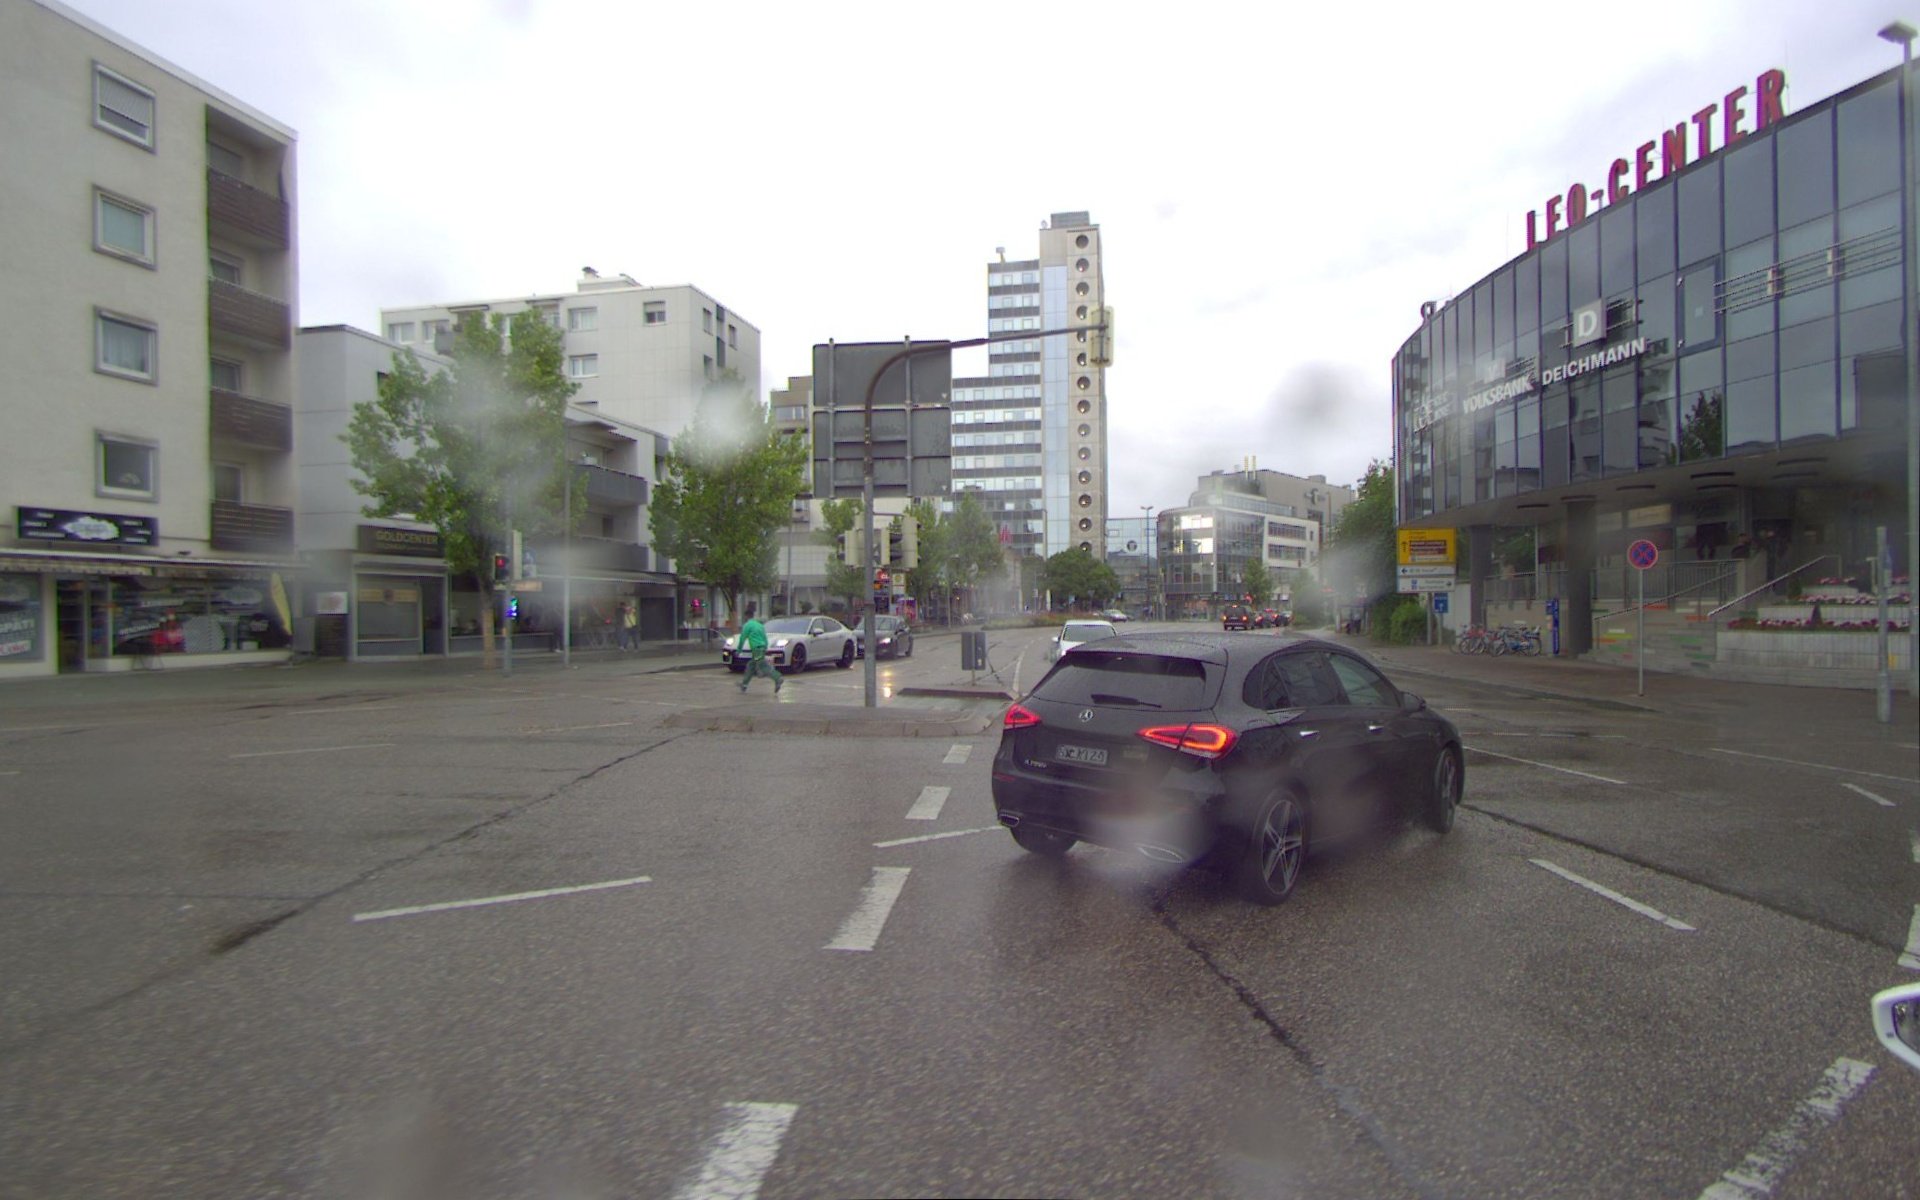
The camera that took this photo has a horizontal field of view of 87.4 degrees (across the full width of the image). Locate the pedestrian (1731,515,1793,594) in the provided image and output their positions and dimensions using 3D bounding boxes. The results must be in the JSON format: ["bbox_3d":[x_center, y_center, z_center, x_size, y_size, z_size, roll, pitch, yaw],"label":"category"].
[{"bbox_3d":[21.388,-1.201,26.798,0.934,2.041,0.832,0,1,-5],"label":"pedestrian"}]

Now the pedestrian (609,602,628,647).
[{"bbox_3d":[-13.674,0.980,40.212,0.556,1.817,0.492,0,-1,16],"label":"pedestrian"}]

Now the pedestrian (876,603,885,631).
[{"bbox_3d":[-4.939,1.065,62.534,0.478,1.741,0.538,0,1,6],"label":"pedestrian"}]

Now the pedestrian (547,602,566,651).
[{"bbox_3d":[-14.516,0.959,36.111,0.440,1.747,0.501,0,-1,7],"label":"pedestrian"}]

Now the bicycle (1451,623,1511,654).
[{"bbox_3d":[19.044,1.393,36.736,1.817,1.047,0.629,-3,-1,8],"label":"bicycle"}]

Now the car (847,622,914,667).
[{"bbox_3d":[-2.610,1.442,33.576,1.411,1.314,3.779,0,0,9],"label":"car"}]

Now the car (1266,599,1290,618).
[{"bbox_3d":[31.687,0.813,100.096,1.800,1.794,3.852,0,1,24],"label":"car"}]

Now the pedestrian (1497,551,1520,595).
[{"bbox_3d":[22.198,-1.085,40.660,0.641,1.737,0.600,1,1,13],"label":"pedestrian"}]

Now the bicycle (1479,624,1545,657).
[{"bbox_3d":[18.837,1.383,34.305,1.817,1.036,0.632,-2,-1,8],"label":"bicycle"}]

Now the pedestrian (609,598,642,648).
[{"bbox_3d":[-12.650,0.864,38.026,0.856,1.835,0.926,0,0,9],"label":"pedestrian"}]

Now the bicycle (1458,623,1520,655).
[{"bbox_3d":[18.947,1.400,35.982,1.817,1.056,0.648,-3,-1,8],"label":"bicycle"}]

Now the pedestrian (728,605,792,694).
[{"bbox_3d":[-3.800,0.922,19.139,0.794,1.645,0.951,0,-1,25],"label":"pedestrian"}]

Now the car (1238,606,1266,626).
[{"bbox_3d":[25.640,1.394,88.184,1.857,1.694,3.997,0,1,24],"label":"car"}]

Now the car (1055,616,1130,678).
[{"bbox_3d":[3.389,1.172,26.316,1.711,1.460,3.994,0,0,4],"label":"car"}]

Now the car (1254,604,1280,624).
[{"bbox_3d":[28.776,1.283,93.984,1.880,1.748,3.806,0,1,24],"label":"car"}]

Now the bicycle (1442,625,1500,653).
[{"bbox_3d":[19.025,1.453,37.447,1.817,0.964,0.536,-3,0,11],"label":"bicycle"}]

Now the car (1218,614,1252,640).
[{"bbox_3d":[22.347,2.166,81.574,2.011,1.921,4.134,0,1,25],"label":"car"}]

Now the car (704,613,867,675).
[{"bbox_3d":[-4.521,1.113,27.000,2.081,1.432,5.146,1,-1,19],"label":"car"}]

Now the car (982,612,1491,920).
[{"bbox_3d":[2.137,0.874,6.948,1.646,1.501,4.069,-1,-2,44],"label":"car"}]

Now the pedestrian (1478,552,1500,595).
[{"bbox_3d":[21.541,-1.095,40.900,0.641,1.737,0.600,1,1,13],"label":"pedestrian"}]

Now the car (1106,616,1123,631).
[{"bbox_3d":[17.646,2.683,114.593,1.663,1.654,3.513,0,0,14],"label":"car"}]
